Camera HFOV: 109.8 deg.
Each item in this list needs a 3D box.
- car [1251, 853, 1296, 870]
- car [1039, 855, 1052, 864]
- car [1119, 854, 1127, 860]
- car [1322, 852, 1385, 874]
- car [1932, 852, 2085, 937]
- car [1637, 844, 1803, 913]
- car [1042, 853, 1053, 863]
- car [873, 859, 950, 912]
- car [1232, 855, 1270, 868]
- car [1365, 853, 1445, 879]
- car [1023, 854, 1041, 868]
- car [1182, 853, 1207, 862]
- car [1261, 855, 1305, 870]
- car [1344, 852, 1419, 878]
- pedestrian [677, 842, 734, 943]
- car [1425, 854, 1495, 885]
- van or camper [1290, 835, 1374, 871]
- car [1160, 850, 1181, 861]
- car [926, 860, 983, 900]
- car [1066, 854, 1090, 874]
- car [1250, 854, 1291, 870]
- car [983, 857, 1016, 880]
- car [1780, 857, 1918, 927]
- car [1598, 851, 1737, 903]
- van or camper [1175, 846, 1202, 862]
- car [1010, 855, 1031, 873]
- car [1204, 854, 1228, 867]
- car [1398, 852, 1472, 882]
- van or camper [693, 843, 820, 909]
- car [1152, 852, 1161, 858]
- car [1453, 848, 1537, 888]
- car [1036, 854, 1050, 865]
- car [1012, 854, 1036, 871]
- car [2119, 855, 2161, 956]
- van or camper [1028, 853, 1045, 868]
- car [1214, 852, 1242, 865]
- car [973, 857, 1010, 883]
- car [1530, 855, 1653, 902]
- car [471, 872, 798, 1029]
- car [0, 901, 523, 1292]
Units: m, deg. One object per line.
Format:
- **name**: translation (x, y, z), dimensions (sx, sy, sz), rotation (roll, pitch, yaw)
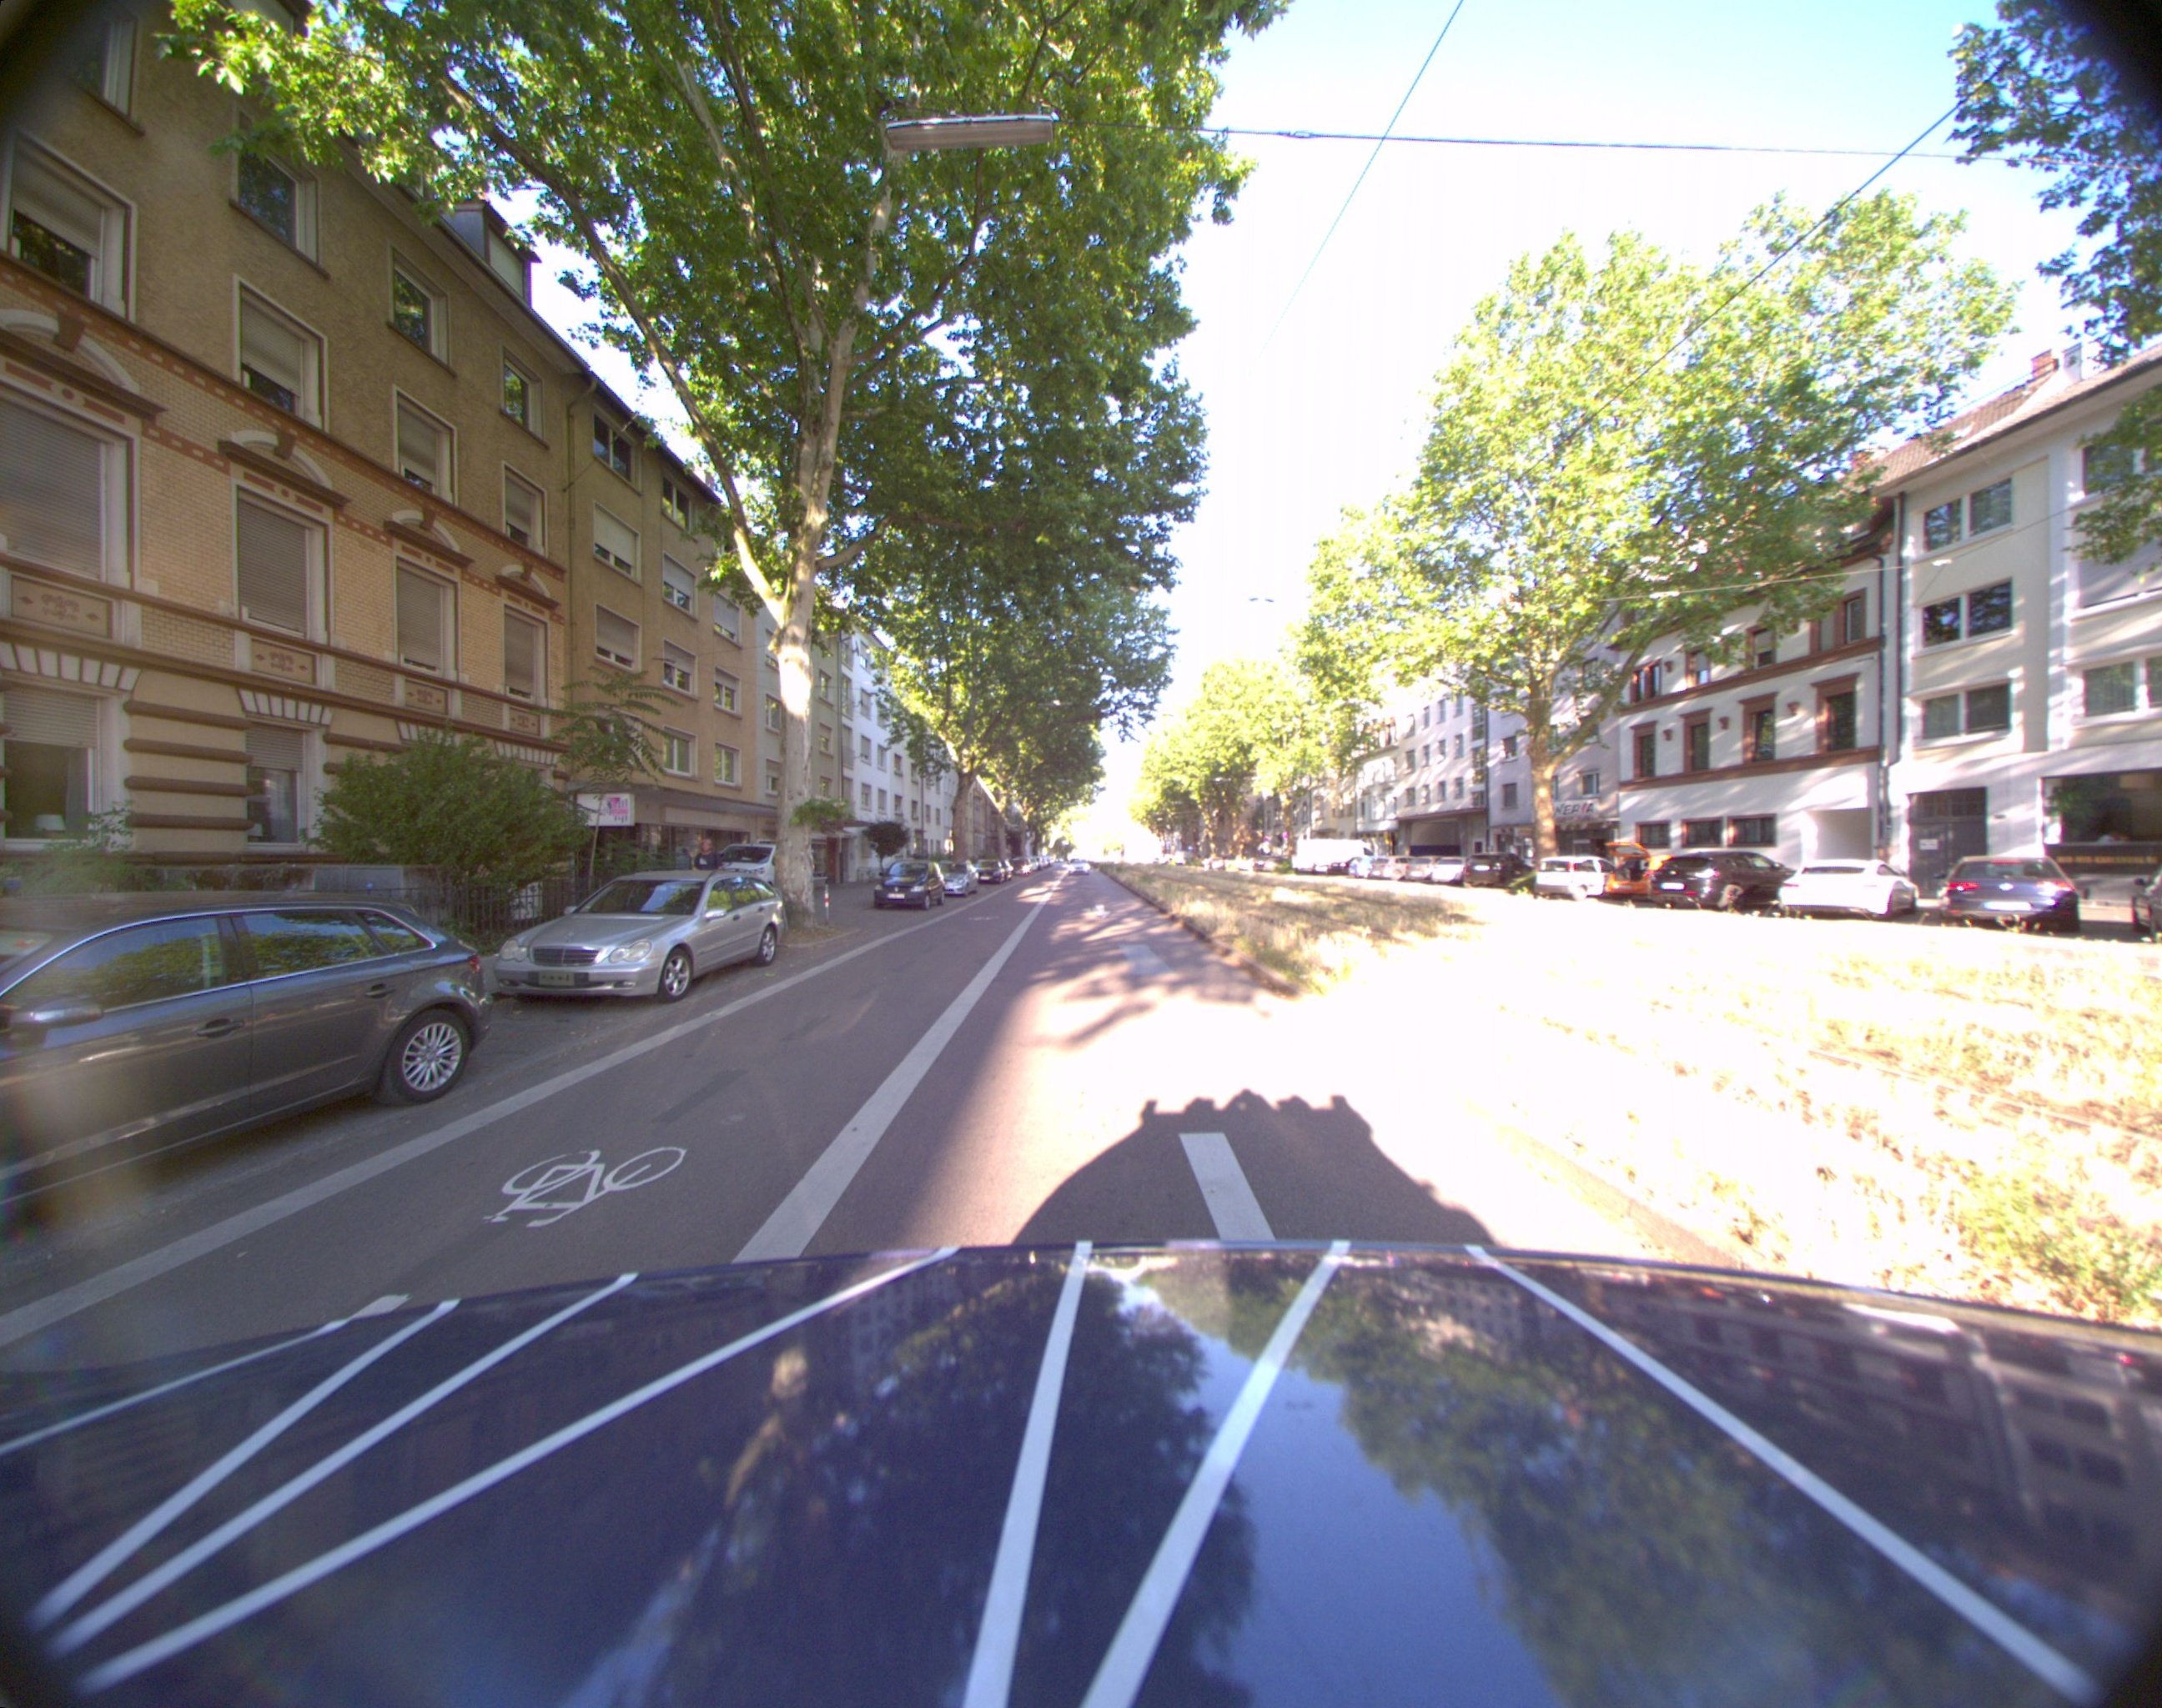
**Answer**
- **car**: translation (18.651, 0.712, 73.554), dimensions (4.169, 1.583, 1.932), rotation (2, -1, -36)
- **car**: translation (-5.604, 0.832, 119.806), dimensions (1.790, 1.458, 3.569), rotation (1, 0, 0)
- **car**: translation (11.375, 0.689, 205.386), dimensions (1.997, 1.477, 4.002), rotation (-2, 1, 8)
- **car**: translation (19.711, 0.640, 54.950), dimensions (4.004, 1.482, 1.996), rotation (0, 0, -22)
- **car**: translation (19.367, 0.765, 16.032), dimensions (4.007, 1.433, 1.797), rotation (-3, 1, -43)
- **car**: translation (18.303, 0.679, 21.758), dimensions (4.370, 1.776, 1.989), rotation (1, 1, -26)
- **car**: translation (-5.589, 0.642, 127.095), dimensions (1.791, 1.585, 4.013), rotation (1, 0, -2)
- **car**: translation (-5.422, 0.966, 24.726), dimensions (1.658, 1.536, 3.999), rotation (0, 0, -1)
- **car**: translation (18.216, 0.777, 81.438), dimensions (3.687, 1.382, 1.822), rotation (-1, 0, -31)
- **car**: translation (19.177, 0.687, 45.087), dimensions (4.002, 1.483, 1.948), rotation (0, 0, -13)
- **car**: translation (-5.540, 0.792, 86.411), dimensions (1.702, 1.517, 4.194), rotation (0, 0, 0)
- **car**: translation (18.983, 0.582, 127.203), dimensions (4.006, 1.240, 1.726), rotation (-4, 1, -34)
- **car**: translation (18.705, 0.808, 70.267), dimensions (4.014, 1.349, 1.797), rotation (1, 0, -37)
- **car**: translation (18.967, 0.667, 48.066), dimensions (3.998, 1.412, 1.857), rotation (-3, 1, -4)
- **pedestrian**: translation (-7.710, 0.768, 15.639), dimensions (0.684, 2.002, 1.011), rotation (0, 1, -3)
- **car**: translation (18.948, 0.736, 37.908), dimensions (4.008, 1.377, 1.907), rotation (-2, 0, -45)
- **van or camper**: translation (18.986, -0.083, 57.458), dimensions (5.974, 2.631, 2.175), rotation (-1, 0, -20)
- **car**: translation (18.324, 0.375, 154.814), dimensions (4.007, 2.002, 1.995), rotation (-3, 1, -42)
- **car**: translation (-5.305, 1.052, 32.482), dimensions (1.699, 1.533, 4.776), rotation (0, 0, -1)
- **car**: translation (-0.183, 0.811, 64.247), dimensions (1.893, 1.501, 4.000), rotation (-3, 1, 1)
- **car**: translation (19.225, 0.798, 76.934), dimensions (4.008, 1.524, 1.821), rotation (1, -1, -36)
- **car**: translation (-5.397, 0.926, 50.572), dimensions (1.713, 1.407, 4.363), rotation (2, 0, 0)
- **car**: translation (18.656, 0.849, 18.409), dimensions (4.212, 1.325, 1.718), rotation (-3, 1, -36)
- **car**: translation (19.504, 0.726, 25.269), dimensions (4.003, 1.471, 1.774), rotation (-3, 1, -20)
- **van or camper**: translation (18.369, 0.019, 129.726), dimensions (4.371, 2.386, 2.196), rotation (-4, 2, -40)
- **car**: translation (-5.276, 0.857, 66.492), dimensions (1.748, 1.455, 4.024), rotation (-1, 0, -5)
- **car**: translation (15.050, 0.689, 85.042), dimensions (1.825, 1.382, 4.483), rotation (2, 0, -1)
- **car**: translation (19.096, 0.690, 40.976), dimensions (4.006, 1.414, 1.752), rotation (-3, 1, -34)
- **van or camper**: translation (-10.431, 0.641, 24.961), dimensions (1.947, 1.911, 5.390), rotation (0, 0, -1)
- **car**: translation (20.198, 0.322, 202.883), dimensions (1.998, 1.412, 4.000), rotation (-2, 1, 2)
- **car**: translation (18.690, 0.587, 34.239), dimensions (4.008, 1.651, 1.995), rotation (-1, 0, -41)
- **car**: translation (-5.479, 0.785, 109.733), dimensions (1.790, 1.609, 3.829), rotation (1, 0, 0)
- **car**: translation (-5.477, 0.808, 73.268), dimensions (1.999, 1.557, 4.663), rotation (2, 1, 0)
- **car**: translation (19.061, 0.807, 12.692), dimensions (4.007, 1.433, 1.717), rotation (-3, 1, -41)
- **van or camper**: translation (-5.405, 0.763, 92.709), dimensions (1.790, 1.710, 4.379), rotation (1, 0, 1)
- **car**: translation (18.838, 0.627, 97.413), dimensions (1.726, 1.643, 4.009), rotation (-1, -1, 40)
- **car**: translation (-5.311, 0.917, 45.681), dimensions (1.713, 1.407, 4.363), rotation (2, 0, 0)
- **car**: translation (18.044, 0.804, 26.820), dimensions (4.369, 1.440, 1.655), rotation (-2, 1, -26)
- **car**: translation (-5.338, 1.020, 9.933), dimensions (1.678, 1.443, 4.570), rotation (0, 0, -2)
- **car**: translation (-5.177, 1.062, 3.666), dimensions (1.714, 1.388, 4.321), rotation (0, 0, 1)
